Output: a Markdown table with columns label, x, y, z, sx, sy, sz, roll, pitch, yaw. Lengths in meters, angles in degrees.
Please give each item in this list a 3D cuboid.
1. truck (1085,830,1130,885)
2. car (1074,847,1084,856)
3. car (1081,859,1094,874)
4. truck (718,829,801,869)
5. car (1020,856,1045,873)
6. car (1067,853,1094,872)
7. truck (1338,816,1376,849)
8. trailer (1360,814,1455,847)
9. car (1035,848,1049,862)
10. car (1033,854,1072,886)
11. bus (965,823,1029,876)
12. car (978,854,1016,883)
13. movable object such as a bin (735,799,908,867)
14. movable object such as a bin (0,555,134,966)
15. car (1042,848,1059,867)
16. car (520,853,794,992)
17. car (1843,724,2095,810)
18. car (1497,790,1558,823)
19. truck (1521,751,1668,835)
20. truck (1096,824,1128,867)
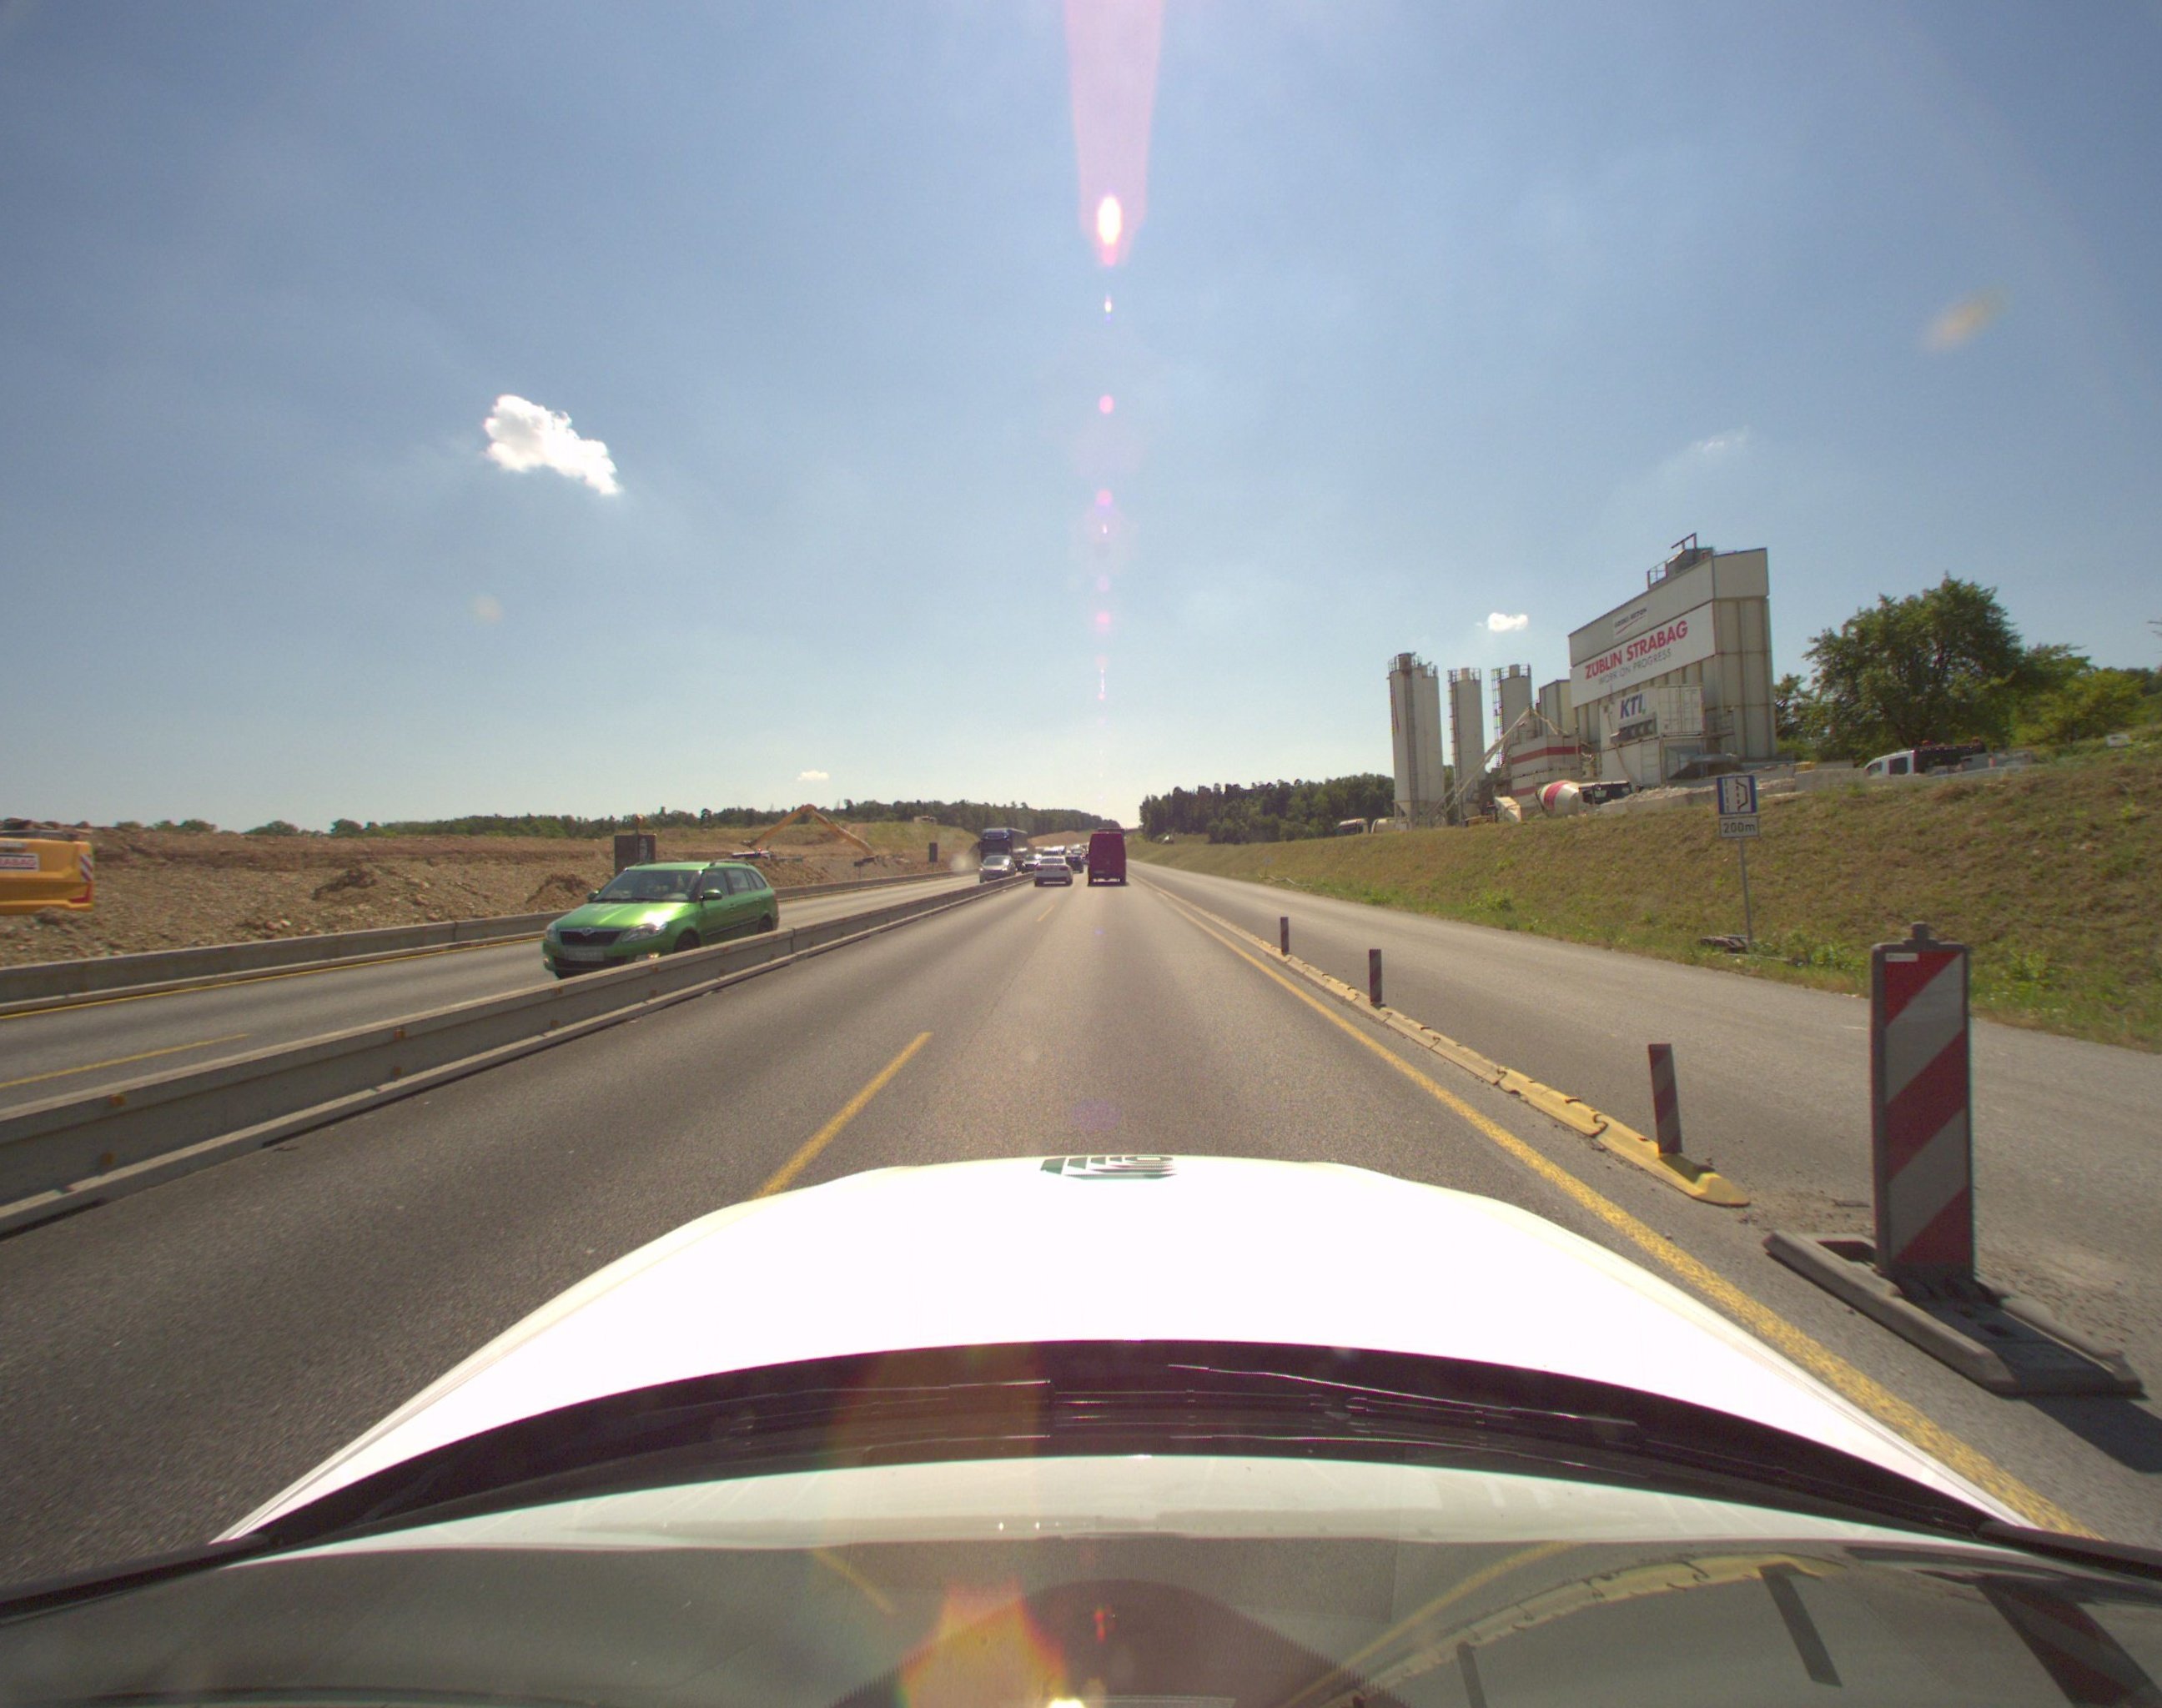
| label | x | y | z | sx | sy | sz | roll | pitch | yaw |
| --- | --- | --- | --- | --- | --- | --- | --- | --- | --- |
| truck | 1.492 | 0.177 | 43.347 | 2.103 | 2.633 | 6.490 | -2 | 0 | 3 |
| car | -0.361 | -0.566 | 173.989 | 1.986 | 1.904 | 4.002 | -2 | 0 | 2 |
| car | 0.918 | 1.743 | 112.673 | 1.757 | 2.013 | 3.828 | -2 | 0 | 2 |
| truck | -22.912 | -0.352 | 58.582 | 2.307 | 2.617 | 8.414 | -2 | 0 | 2 |
| car | -4.148 | 0.906 | 69.860 | 1.716 | 1.346 | 3.627 | -2 | 0 | 2 |
| car | 0.011 | 0.680 | 70.380 | 1.785 | 1.534 | 3.939 | -2 | 0 | 7 |
| truck | 28.663 | -2.182 | 84.337 | 2.869 | 3.113 | 6.047 | -2 | 0 | 26 |
| trailer | 34.432 | -2.461 | 85.916 | 9.006 | 3.229 | 3.316 | -2 | 0 | -13 |
| car | -6.110 | 0.157 | 127.051 | 1.757 | 2.013 | 3.828 | -2 | 0 | 2 |
| car | -1.423 | 0.797 | 42.322 | 1.789 | 1.534 | 5.073 | -1 | 0 | 0 |
| bus | -7.768 | -0.407 | 78.446 | 3.929 | 4.415 | 17.203 | -2 | 0 | 1 |
| car | -4.869 | 0.814 | 47.793 | 1.646 | 1.558 | 4.097 | -2 | 0 | 2 |
| movable object such as a bin | -30.003 | -2.416 | 94.644 | 18.653 | 7.231 | 3.615 | -2 | 0 | -1 |
| movable object such as a bin | -24.008 | -1.663 | 15.669 | 7.605 | 7.713 | 3.448 | -2 | 0 | 3 |
| car | -3.578 | 0.457 | 96.119 | 1.852 | 2.154 | 3.624 | -2 | 0 | -1 |
| car | -5.724 | 0.807 | 11.664 | 1.596 | 1.580 | 4.169 | -2 | 0 | 2 |
| car | 26.467 | -2.496 | 24.624 | 2.215 | 2.013 | 4.995 | -2 | 0 | 2 |
| car | 31.606 | -3.335 | 57.788 | 1.986 | 2.013 | 4.429 | -2 | 0 | 2 |
| truck | 30.596 | -3.417 | 49.266 | 3.418 | 4.296 | 9.944 | -2 | 0 | 6 |
| truck | 3.261 | -0.859 | 83.732 | 3.003 | 4.153 | 8.277 | -2 | 0 | 3 |
